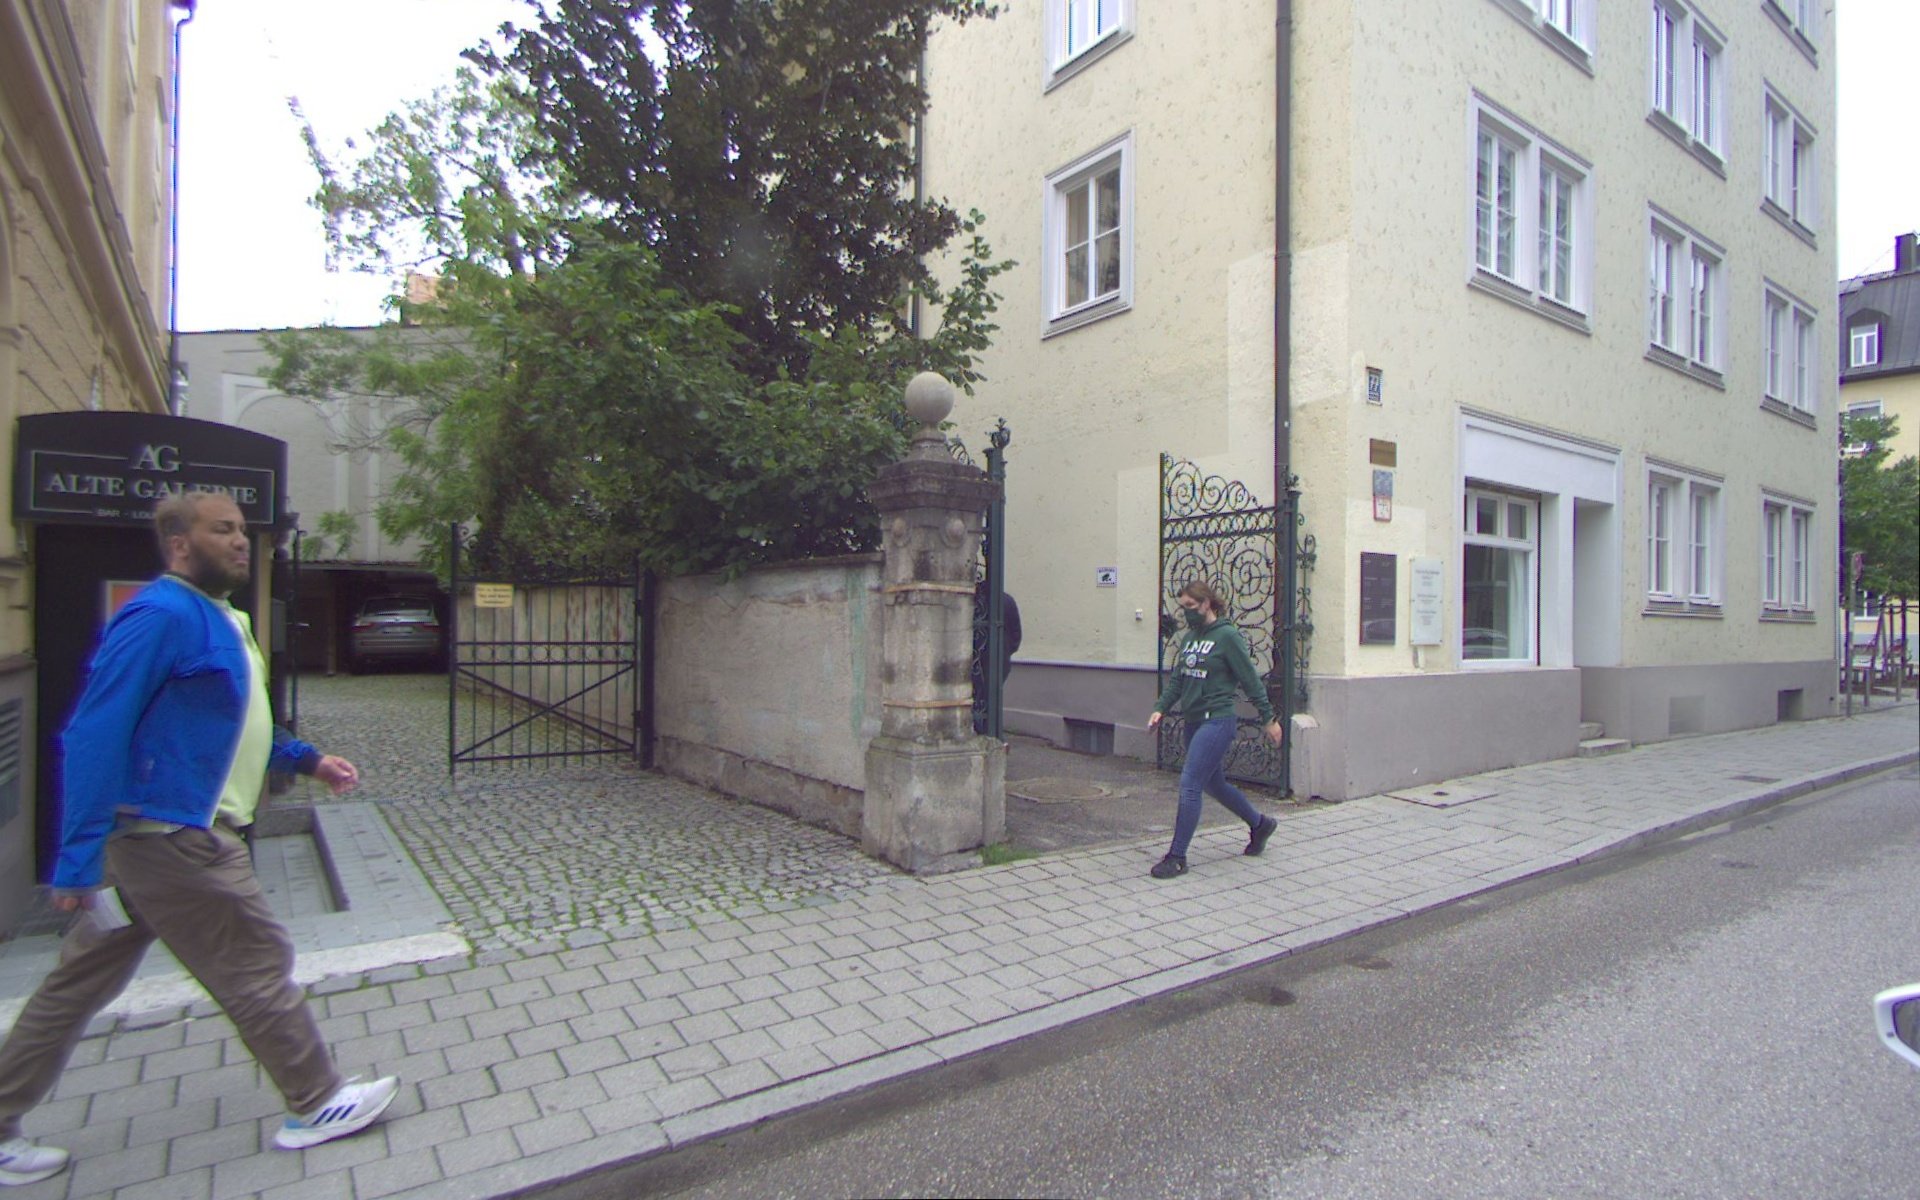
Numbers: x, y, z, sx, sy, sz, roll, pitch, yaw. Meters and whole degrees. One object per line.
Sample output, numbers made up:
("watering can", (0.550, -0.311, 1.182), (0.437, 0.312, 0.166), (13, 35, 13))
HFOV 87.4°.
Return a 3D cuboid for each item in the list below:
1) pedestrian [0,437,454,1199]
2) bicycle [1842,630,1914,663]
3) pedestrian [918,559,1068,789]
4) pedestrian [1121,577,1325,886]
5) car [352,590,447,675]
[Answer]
("pedestrian", (-2.088, 0.575, 2.812), (1.066, 1.879, 0.752), (1, 0, -36))
("bicycle", (36.197, 1.808, 39.646), (0.563, 1.213, 2.035), (1, 0, -28))
("pedestrian", (0.282, 0.603, 8.736), (0.900, 1.851, 0.946), (1, -1, -36))
("pedestrian", (1.584, 0.727, 6.061), (0.921, 1.688, 0.707), (1, 2, -36))
("car", (-12.077, 0.634, 21.634), (1.615, 1.561, 3.702), (2, 1, -30))
